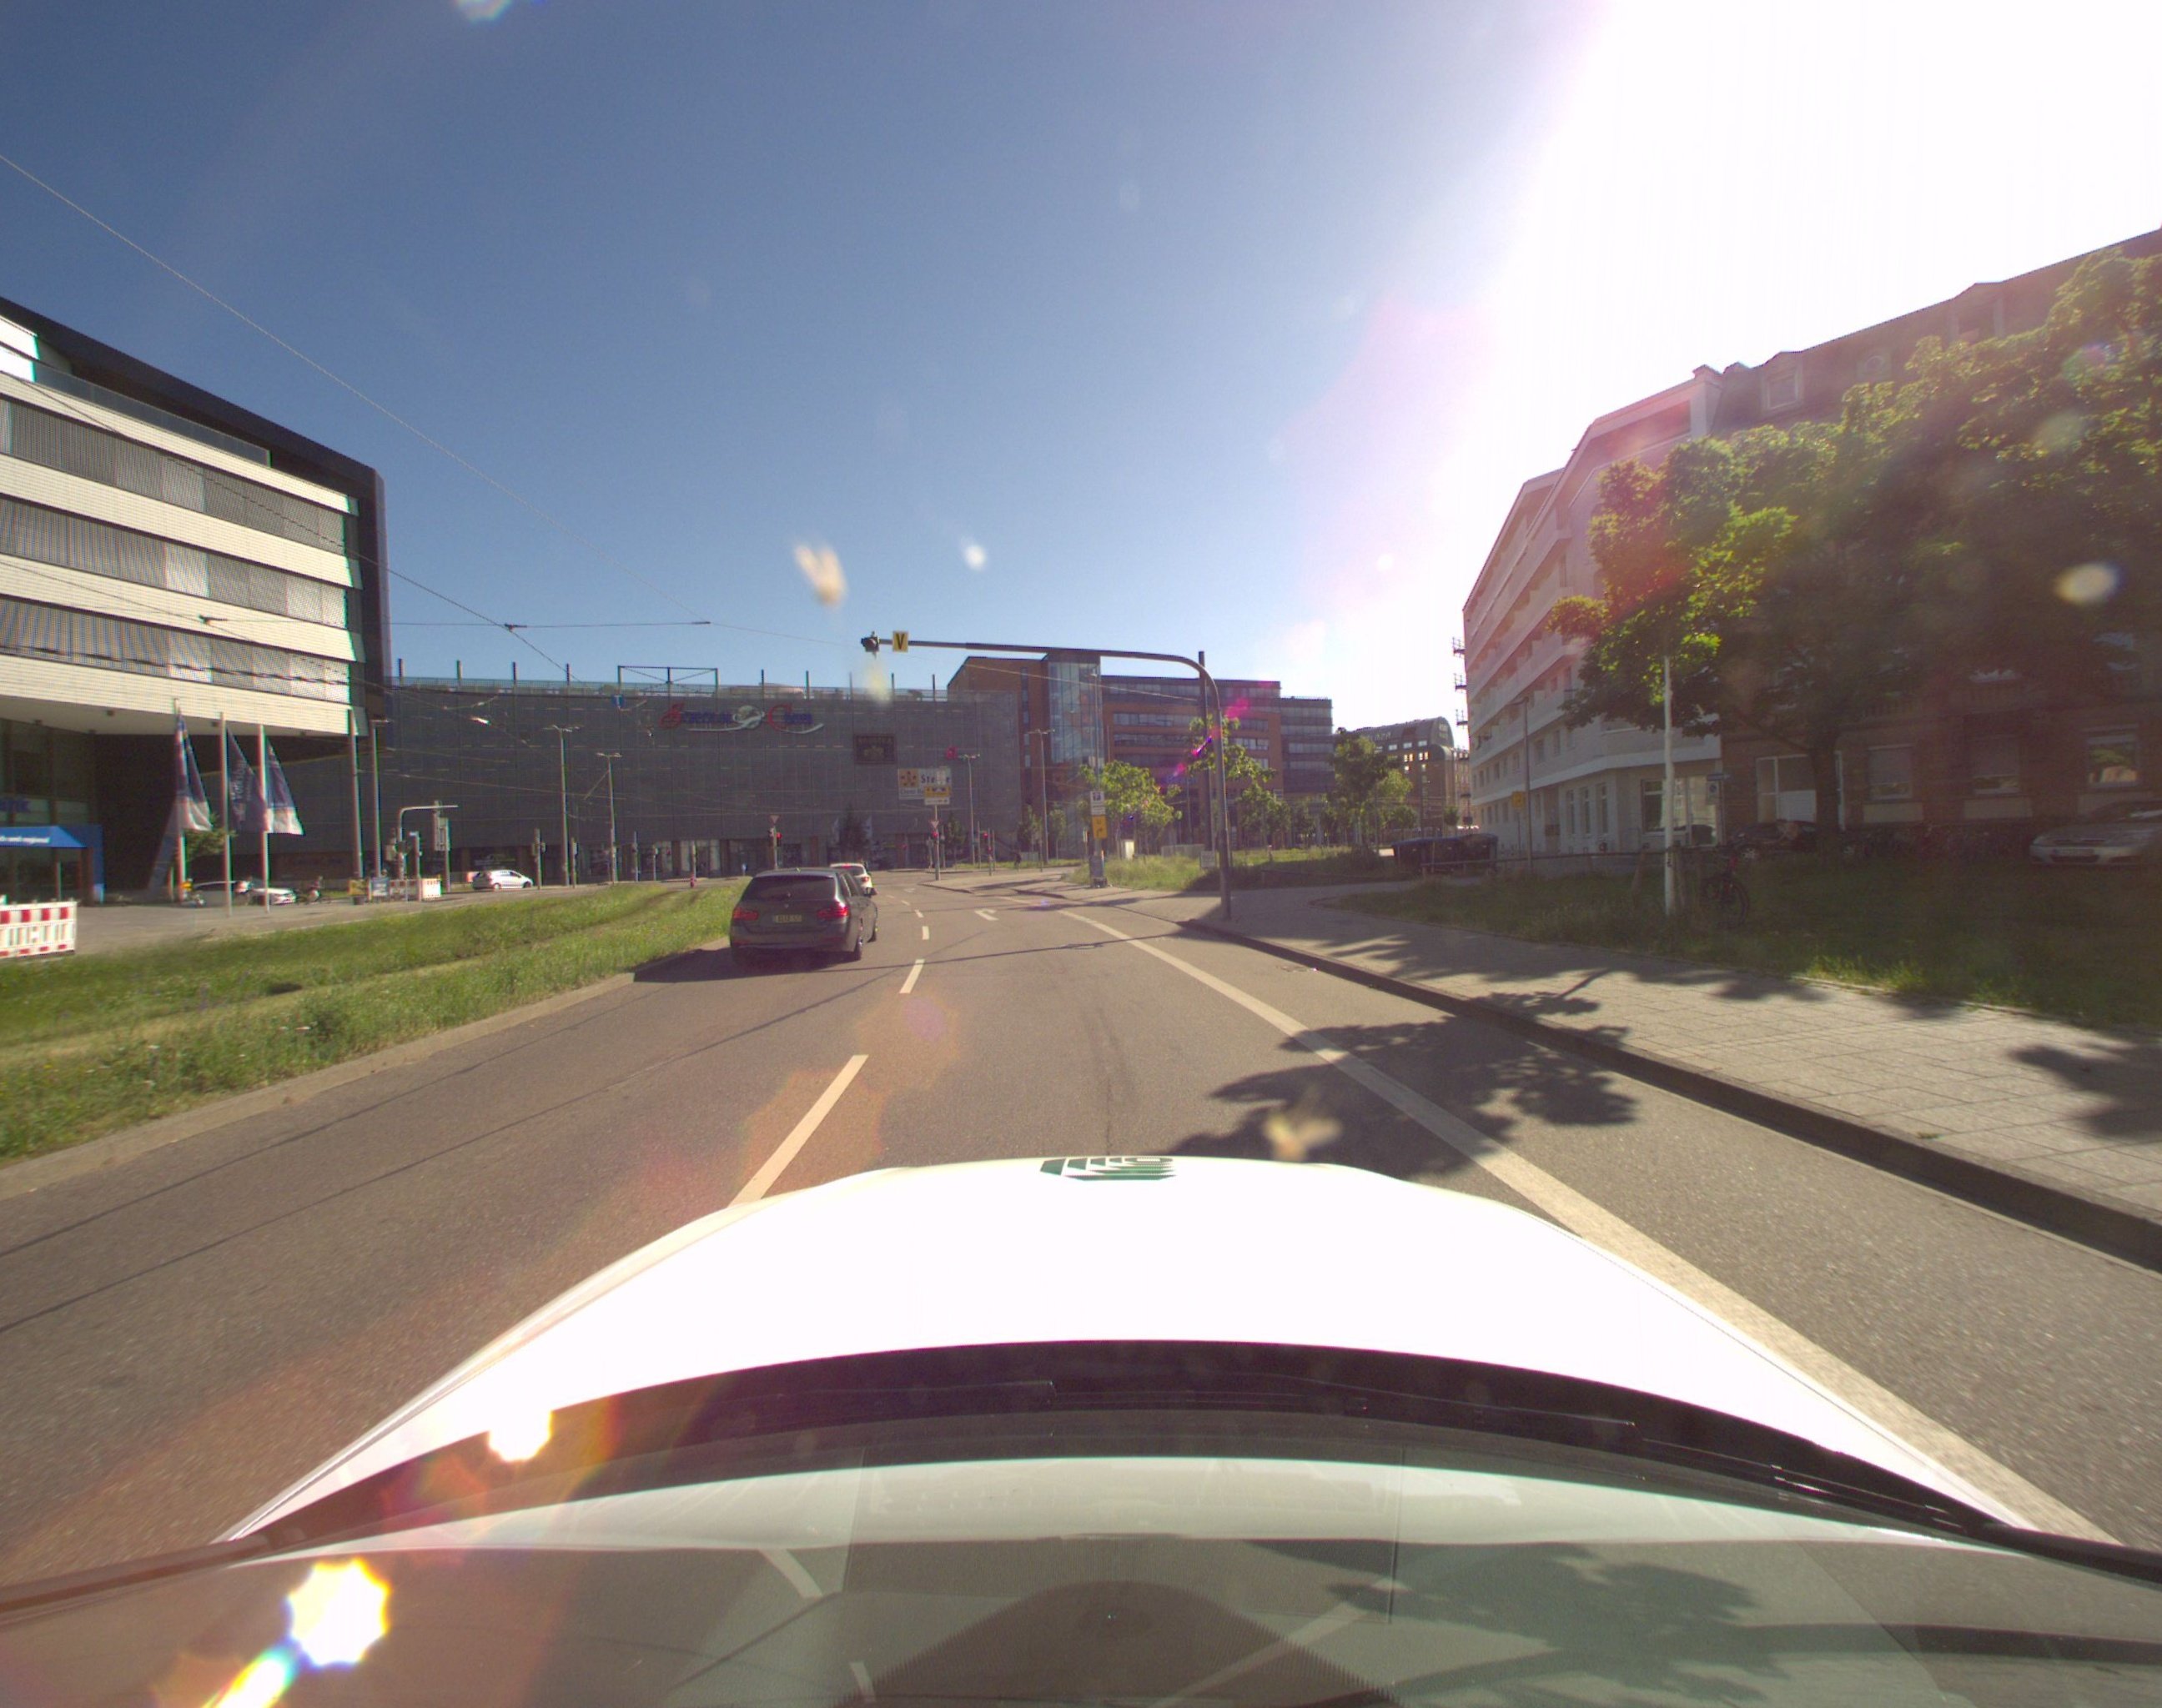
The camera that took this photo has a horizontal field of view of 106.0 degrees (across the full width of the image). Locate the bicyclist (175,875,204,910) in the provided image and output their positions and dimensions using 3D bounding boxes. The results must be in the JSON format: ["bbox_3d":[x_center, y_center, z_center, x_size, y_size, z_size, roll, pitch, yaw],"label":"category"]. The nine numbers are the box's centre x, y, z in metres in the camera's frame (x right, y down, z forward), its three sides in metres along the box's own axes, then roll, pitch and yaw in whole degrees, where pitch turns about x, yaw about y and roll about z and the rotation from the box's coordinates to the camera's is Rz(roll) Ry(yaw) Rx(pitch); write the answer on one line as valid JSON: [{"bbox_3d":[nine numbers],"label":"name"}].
[{"bbox_3d":[-48.206,2.074,44.039,0.766,1.789,0.757,-2,0,-24],"label":"bicyclist"}]

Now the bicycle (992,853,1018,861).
[{"bbox_3d":[-10.195,0.409,109.782,3.366,1.077,1.111,-1,0,-15],"label":"bicycle"}]

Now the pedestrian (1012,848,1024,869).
[{"bbox_3d":[-5.316,0.353,68.808,0.809,1.708,0.756,-2,0,-21],"label":"pedestrian"}]

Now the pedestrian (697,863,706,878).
[{"bbox_3d":[-45.372,1.964,97.401,0.851,1.763,0.616,-2,0,-21],"label":"pedestrian"}]

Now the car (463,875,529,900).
[{"bbox_3d":[-45.150,2.587,62.945,1.741,1.794,4.012,-1,-1,11],"label":"car"}]

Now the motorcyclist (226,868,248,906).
[{"bbox_3d":[-45.642,1.768,44.047,0.630,2.013,0.494,-2,0,-20],"label":"motorcyclist"}]

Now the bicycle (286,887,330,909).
[{"bbox_3d":[-43.253,2.461,45.591,1.583,1.107,0.728,-3,0,-24],"label":"bicycle"}]

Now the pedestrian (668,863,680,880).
[{"bbox_3d":[-45.122,1.960,90.277,0.895,1.868,0.825,-2,0,22],"label":"pedestrian"}]

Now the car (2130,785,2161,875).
[{"bbox_3d":[19.294,-0.456,12.711,3.824,1.441,1.757,-2,0,-5],"label":"car"}]

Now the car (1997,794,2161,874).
[{"bbox_3d":[19.887,-0.416,15.178,4.041,1.337,1.834,-2,0,-8],"label":"car"}]

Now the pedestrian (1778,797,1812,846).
[{"bbox_3d":[23.574,-1.056,26.899,0.775,1.577,0.636,-2,0,-35],"label":"pedestrian"}]

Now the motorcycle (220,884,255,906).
[{"bbox_3d":[-45.614,2.202,44.051,1.190,1.121,0.480,-2,0,-21],"label":"motorcycle"}]

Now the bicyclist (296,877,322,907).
[{"bbox_3d":[-43.181,2.110,45.557,0.786,1.648,0.685,-2,0,-22],"label":"bicyclist"}]

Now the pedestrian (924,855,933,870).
[{"bbox_3d":[-18.034,0.979,96.451,0.858,1.738,0.747,-2,0,-27],"label":"pedestrian"}]

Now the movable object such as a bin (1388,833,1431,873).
[{"bbox_3d":[11.943,-0.033,29.606,1.058,1.398,1.312,-2,0,38],"label":"movable object such as a bin"}]

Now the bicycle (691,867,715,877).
[{"bbox_3d":[-42.215,2.016,91.019,1.033,1.070,2.259,-2,0,29],"label":"bicycle"}]

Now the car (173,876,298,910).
[{"bbox_3d":[-47.722,2.177,46.093,4.507,1.634,1.826,-2,1,-22],"label":"car"}]

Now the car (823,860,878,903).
[{"bbox_3d":[-8.397,0.954,29.475,1.638,1.423,3.756,1,-1,-20],"label":"car"}]

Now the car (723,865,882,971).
[{"bbox_3d":[-4.312,0.895,13.300,1.734,1.423,4.452,1,-1,-10],"label":"car"}]

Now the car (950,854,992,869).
[{"bbox_3d":[-12.450,0.814,92.488,4.503,1.494,1.484,-2,0,-21],"label":"car"}]

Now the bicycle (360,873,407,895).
[{"bbox_3d":[-40.133,1.712,46.874,1.835,1.116,0.848,-2,0,-20],"label":"bicycle"}]

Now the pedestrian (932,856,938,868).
[{"bbox_3d":[-18.583,0.995,103.478,0.591,1.534,0.654,-2,0,-21],"label":"pedestrian"}]

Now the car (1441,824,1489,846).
[{"bbox_3d":[38.041,-1.839,80.705,3.948,2.013,2.013,-2,0,33],"label":"car"}]

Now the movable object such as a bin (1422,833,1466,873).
[{"bbox_3d":[13.047,-0.041,29.271,1.096,1.398,1.329,-2,0,38],"label":"movable object such as a bin"}]

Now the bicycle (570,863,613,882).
[{"bbox_3d":[-56.233,2.095,93.695,4.000,2.013,1.321,-1,0,-20],"label":"bicycle"}]

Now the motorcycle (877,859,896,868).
[{"bbox_3d":[-24.848,1.211,103.949,2.210,1.042,1.054,-1,0,-20],"label":"motorcycle"}]

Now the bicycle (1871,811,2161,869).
[{"bbox_3d":[22.012,-0.329,19.099,2.656,1.127,5.241,-2,0,13],"label":"bicycle"}]

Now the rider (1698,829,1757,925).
[{"bbox_3d":[8.728,0.276,11.035,0.497,1.176,1.687,-2,1,35],"label":"rider"}]

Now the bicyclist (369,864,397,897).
[{"bbox_3d":[-40.162,1.522,46.879,0.905,1.859,0.848,-2,0,-20],"label":"bicyclist"}]

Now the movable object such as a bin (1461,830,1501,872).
[{"bbox_3d":[14.090,-0.114,28.710,1.019,1.398,1.097,-2,0,38],"label":"movable object such as a bin"}]

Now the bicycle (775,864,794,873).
[{"bbox_3d":[-36.227,1.768,99.498,2.033,1.059,1.137,-2,0,-21],"label":"bicycle"}]

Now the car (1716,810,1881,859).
[{"bbox_3d":[24.300,-0.622,27.654,4.056,1.436,2.012,-2,0,45],"label":"car"}]

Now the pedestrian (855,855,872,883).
[{"bbox_3d":[-13.831,0.966,51.796,0.889,1.707,0.708,-2,0,-21],"label":"pedestrian"}]

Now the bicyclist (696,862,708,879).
[{"bbox_3d":[-42.307,1.819,90.904,0.806,1.803,0.850,-2,0,28],"label":"bicyclist"}]
